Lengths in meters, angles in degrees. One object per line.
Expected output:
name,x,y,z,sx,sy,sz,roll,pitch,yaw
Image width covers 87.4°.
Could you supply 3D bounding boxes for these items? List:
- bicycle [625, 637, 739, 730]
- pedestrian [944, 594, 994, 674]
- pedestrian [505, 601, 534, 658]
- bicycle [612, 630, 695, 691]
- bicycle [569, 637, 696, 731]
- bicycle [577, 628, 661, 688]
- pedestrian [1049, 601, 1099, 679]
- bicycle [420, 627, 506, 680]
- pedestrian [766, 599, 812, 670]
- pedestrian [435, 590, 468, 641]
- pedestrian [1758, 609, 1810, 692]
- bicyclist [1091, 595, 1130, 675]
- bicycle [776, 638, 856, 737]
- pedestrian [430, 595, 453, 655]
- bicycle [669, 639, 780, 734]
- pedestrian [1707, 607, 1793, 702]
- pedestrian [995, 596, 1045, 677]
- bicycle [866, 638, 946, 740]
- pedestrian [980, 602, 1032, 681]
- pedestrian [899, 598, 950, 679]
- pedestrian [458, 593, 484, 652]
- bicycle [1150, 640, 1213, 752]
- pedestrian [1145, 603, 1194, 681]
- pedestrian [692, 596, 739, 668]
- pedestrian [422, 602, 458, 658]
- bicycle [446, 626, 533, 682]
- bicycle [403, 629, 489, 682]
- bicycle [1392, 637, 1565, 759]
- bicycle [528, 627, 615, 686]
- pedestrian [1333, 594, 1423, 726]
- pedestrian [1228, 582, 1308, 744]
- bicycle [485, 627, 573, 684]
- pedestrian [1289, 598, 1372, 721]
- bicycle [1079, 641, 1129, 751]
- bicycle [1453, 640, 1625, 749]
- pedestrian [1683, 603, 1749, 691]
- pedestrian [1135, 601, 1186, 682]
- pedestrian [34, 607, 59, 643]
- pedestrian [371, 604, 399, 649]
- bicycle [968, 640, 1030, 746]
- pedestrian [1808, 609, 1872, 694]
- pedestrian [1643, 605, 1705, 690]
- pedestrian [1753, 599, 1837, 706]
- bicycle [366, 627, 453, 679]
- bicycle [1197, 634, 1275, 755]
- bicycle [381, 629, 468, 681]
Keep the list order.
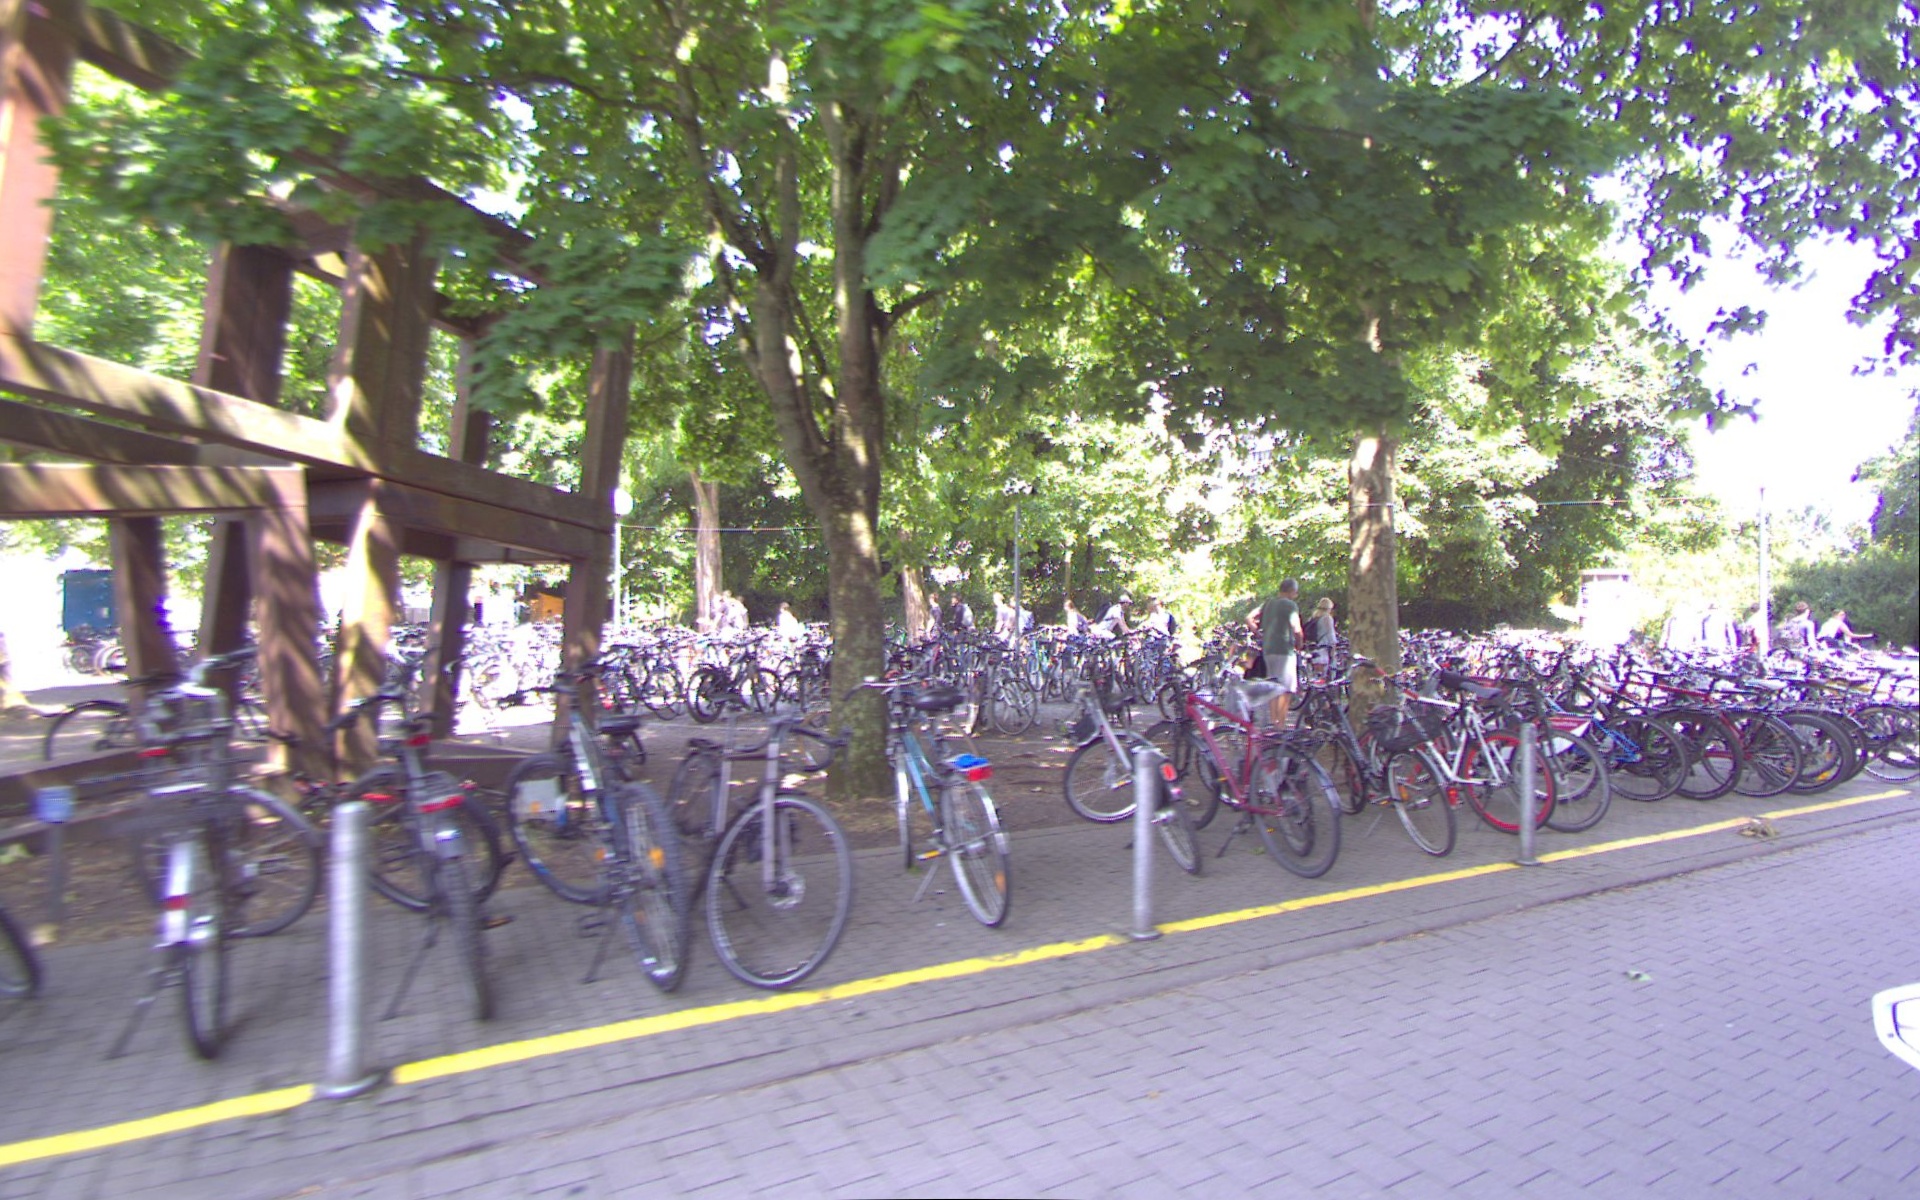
bicycle,-3.735,1.093,13.634,0.493,1.123,1.779,1,0,22
pedestrian,0.220,0.766,23.239,0.890,1.798,0.769,1,0,26
pedestrian,-14.354,0.952,32.746,0.761,1.798,0.900,1,0,-30
bicycle,-5.902,1.144,19.460,0.465,1.098,1.858,1,0,22
bicycle,-4.371,1.087,13.553,0.493,1.123,1.906,1,0,22
bicycle,-6.742,1.126,19.963,0.465,1.098,1.858,1,0,22
pedestrian,2.551,0.881,22.507,0.890,1.702,0.769,1,0,26
bicycle,-11.004,1.156,22.301,0.465,1.098,1.858,1,0,22
pedestrian,-4.440,0.886,26.090,0.893,1.798,0.767,1,0,38
pedestrian,-18.105,0.548,35.793,0.894,1.798,0.766,1,0,42
pedestrian,17.691,1.072,21.584,0.673,1.747,0.731,0,0,24
bicyclist,3.070,0.701,20.441,0.707,1.589,0.596,1,0,14
bicycle,-1.814,1.077,12.859,0.492,1.123,1.701,1,0,10
pedestrian,-15.716,0.756,30.451,0.498,1.795,0.663,1,0,-38
bicycle,-3.088,1.103,13.340,0.493,1.123,1.779,1,0,22
pedestrian,14.789,0.999,18.832,1.043,1.747,0.719,0,0,2
pedestrian,1.386,0.821,23.125,0.890,1.798,0.769,1,0,26
bicycle,-0.644,1.076,12.646,0.618,1.123,1.701,1,0,10
pedestrian,1.028,0.894,22.338,0.890,1.702,0.769,1,0,26
pedestrian,-0.821,0.869,23.110,0.890,1.798,0.769,1,0,26
pedestrian,-15.070,0.691,30.957,0.604,1.798,0.652,1,0,-37
bicycle,2.519,1.061,11.564,0.492,1.123,1.700,1,0,6
pedestrian,4.709,0.928,22.556,0.890,1.702,0.769,1,0,26
pedestrian,-6.313,0.812,25.978,0.892,1.798,0.767,1,0,37
pedestrian,-17.043,0.979,32.919,0.894,1.798,0.766,1,0,42
bicycle,-9.995,1.123,21.416,0.465,1.098,1.858,1,0,22
bicycle,-11.558,1.220,22.648,0.465,1.098,1.858,1,0,22
bicycle,5.873,1.068,11.458,0.499,1.236,1.679,1,0,-41
bicycle,-7.805,1.112,20.264,0.465,1.098,1.858,1,0,22
pedestrian,5.648,0.794,13.629,0.756,1.725,0.906,1,0,-8
pedestrian,3.623,0.710,11.798,0.756,1.831,0.709,1,0,27
bicycle,-8.879,1.119,20.778,0.465,1.098,1.858,1,0,22
pedestrian,5.428,0.847,14.722,0.898,1.725,0.762,1,0,-36
bicycle,1.666,1.077,11.774,0.492,1.123,1.700,1,0,6
bicycle,6.821,1.077,11.905,0.499,1.123,1.679,1,0,-41
pedestrian,16.223,0.985,21.566,0.872,1.839,0.828,1,0,-29
pedestrian,4.360,0.893,21.817,0.890,1.702,0.769,1,0,26
pedestrian,-46.306,1.248,50.933,0.892,1.798,0.767,1,0,37
pedestrian,-23.577,1.083,41.193,0.894,1.826,0.766,1,0,42
bicycle,0.495,1.073,12.102,0.492,1.123,1.701,1,0,10
pedestrian,18.595,1.057,21.230,0.671,1.747,0.927,0,0,-39
pedestrian,15.808,1.028,22.245,0.972,1.828,0.764,1,0,-29
pedestrian,14.821,0.915,17.853,0.922,1.860,0.686,0,0,4
bicycle,-12.615,1.193,23.061,0.465,1.098,1.858,1,0,22
bicycle,3.120,1.024,11.466,0.564,1.215,1.700,1,0,6
bicycle,-12.099,1.219,22.762,0.465,1.098,1.858,1,0,22
